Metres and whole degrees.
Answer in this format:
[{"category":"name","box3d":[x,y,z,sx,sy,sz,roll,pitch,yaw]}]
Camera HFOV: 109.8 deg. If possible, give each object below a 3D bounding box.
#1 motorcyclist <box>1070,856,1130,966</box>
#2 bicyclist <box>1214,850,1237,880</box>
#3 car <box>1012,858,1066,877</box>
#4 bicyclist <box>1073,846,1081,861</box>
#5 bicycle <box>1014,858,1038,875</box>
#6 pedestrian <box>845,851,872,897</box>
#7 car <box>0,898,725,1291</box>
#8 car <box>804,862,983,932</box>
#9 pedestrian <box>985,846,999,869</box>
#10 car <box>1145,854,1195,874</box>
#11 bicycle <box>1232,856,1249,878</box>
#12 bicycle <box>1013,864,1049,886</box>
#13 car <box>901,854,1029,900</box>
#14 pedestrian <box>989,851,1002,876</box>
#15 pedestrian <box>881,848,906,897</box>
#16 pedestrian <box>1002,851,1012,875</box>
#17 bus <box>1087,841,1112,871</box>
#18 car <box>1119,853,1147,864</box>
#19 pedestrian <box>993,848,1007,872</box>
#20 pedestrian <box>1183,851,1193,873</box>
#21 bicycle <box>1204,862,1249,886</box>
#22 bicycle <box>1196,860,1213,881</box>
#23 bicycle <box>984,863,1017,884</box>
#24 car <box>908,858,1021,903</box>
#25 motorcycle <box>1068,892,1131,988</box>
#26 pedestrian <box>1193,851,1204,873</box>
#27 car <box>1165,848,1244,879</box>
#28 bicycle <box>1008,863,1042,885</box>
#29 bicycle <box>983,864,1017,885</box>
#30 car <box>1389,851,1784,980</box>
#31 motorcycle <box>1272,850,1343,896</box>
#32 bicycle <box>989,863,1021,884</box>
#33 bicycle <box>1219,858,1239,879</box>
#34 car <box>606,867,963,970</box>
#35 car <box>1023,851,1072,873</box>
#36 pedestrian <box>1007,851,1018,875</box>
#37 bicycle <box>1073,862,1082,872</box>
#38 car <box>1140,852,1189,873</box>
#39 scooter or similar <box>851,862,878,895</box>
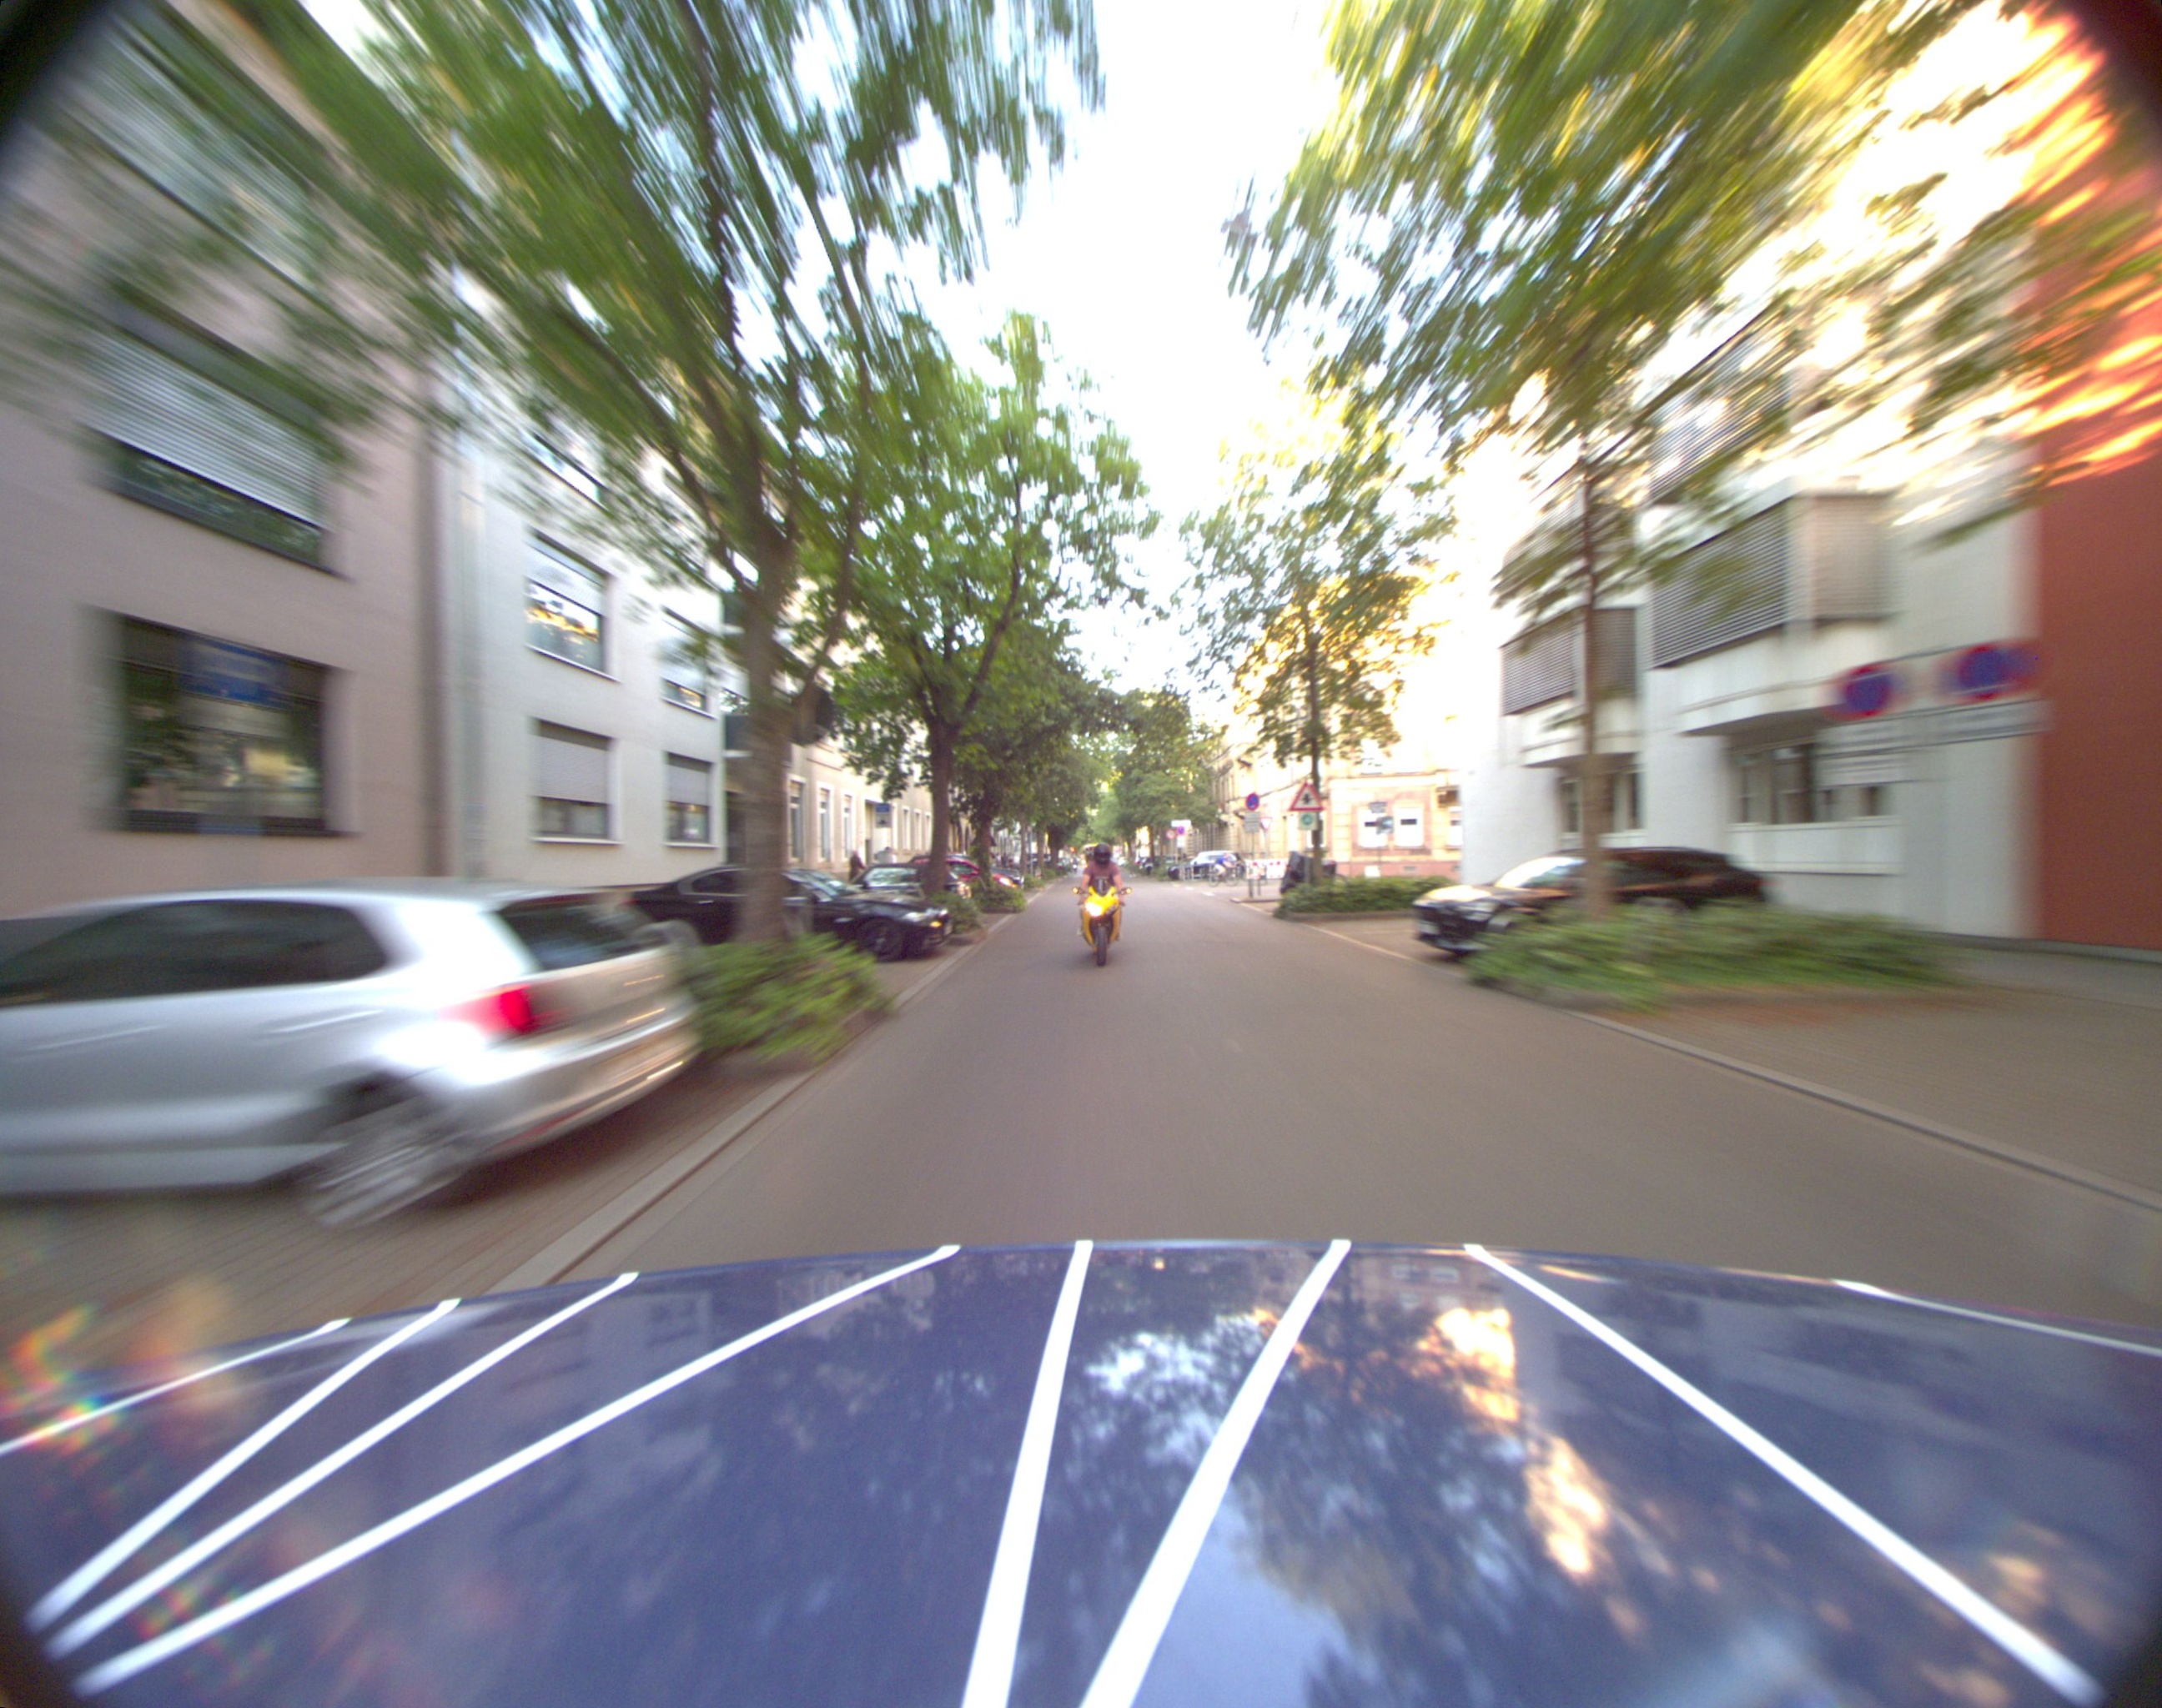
[{"category":"motorcyclist","box3d":[0.257,0.746,10.209,0.737,1.404,0.726,-2,0,2]},{"category":"bicyclist","box3d":[6.812,0.518,35.868,0.774,1.355,0.675,-3,0,44]},{"category":"car","box3d":[-3.481,1.135,63.914,4.412,1.385,1.885,2,0,-1]},{"category":"bicyclist","box3d":[-0.415,-0.025,79.576,0.637,1.551,0.818,-3,0,-9]},{"category":"bicycle","box3d":[-4.222,0.986,58.448,1.800,1.225,0.673,2,0,-9]},{"category":"pedestrian","box3d":[-7.572,0.669,25.851,0.656,1.527,0.831,0,0,2]},{"category":"car","box3d":[-4.197,0.989,3.876,3.887,1.431,1.847,0,0,-2]},{"category":"car","box3d":[-4.023,0.904,16.748,3.492,1.444,1.899,0,0,-1]},{"category":"pedestrian","box3d":[-6.557,0.259,55.814,0.725,1.728,0.746,1,-1,28]},{"category":"car","box3d":[7.295,0.805,62.831,3.954,1.523,1.908,-2,0,3]},{"category":"bicycle","box3d":[8.927,0.705,42.507,0.518,1.101,1.861,-4,2,1]},{"category":"bicycle","box3d":[-2.633,1.090,40.161,1.843,1.129,0.744,0,0,-9]},{"category":"car","box3d":[-4.256,0.830,28.458,4.436,1.646,1.900,-1,0,2]},{"category":"pedestrian","box3d":[-5.938,0.672,52.484,0.779,1.728,0.683,1,-1,-15]},{"category":"pedestrian","box3d":[-6.695,0.641,27.175,0.693,1.727,0.672,-1,0,-31]},{"category":"pedestrian","box3d":[-5.376,0.674,54.925,0.616,1.728,0.623,1,-1,1]},{"category":"bus","box3d":[2.164,0.264,91.151,2.668,3.175,11.899,-3,0,0]},{"category":"car","box3d":[7.844,0.664,114.941,4.180,1.548,1.827,-2,0,3]},{"category":"pedestrian","box3d":[-6.043,0.462,56.606,0.712,1.728,0.749,1,-1,21]},{"category":"pedestrian","box3d":[8.571,0.653,60.790,0.736,1.729,0.671,-2,0,7]},{"category":"bicycle","box3d":[6.849,0.955,35.841,0.675,1.024,1.972,-3,0,-44]},{"category":"bicycle","box3d":[6.894,0.886,42.438,0.523,1.053,1.861,-4,2,-2]},{"category":"bicycle","box3d":[-4.472,1.088,41.989,1.800,1.136,0.651,0,0,-8]},{"category":"car","box3d":[-3.812,0.851,25.296,3.492,1.444,1.899,0,0,-1]},{"category":"motorcycle","box3d":[0.263,1.093,10.187,0.737,1.053,1.964,-2,0,2]},{"category":"pedestrian","box3d":[9.434,0.636,61.039,0.736,1.729,0.671,-2,0,7]},{"category":"car","box3d":[7.348,0.580,45.574,4.436,1.641,1.873,-3,-1,2]},{"category":"bicycle","box3d":[-3.039,1.073,41.494,1.834,1.171,0.601,0,0,0]},{"category":"bicycle","box3d":[-4.314,1.099,40.616,1.799,1.101,0.500,0,0,-5]},{"category":"car","box3d":[6.731,0.769,10.482,4.138,1.477,1.929,-2,0,0]},{"category":"motorcycle","box3d":[7.844,0.648,26.282,2.217,1.473,0.858,-1,-1,-18]},{"category":"bicycle","box3d":[-4.271,1.098,42.804,1.799,1.122,0.664,0,0,-5]},{"category":"bicycle","box3d":[8.253,0.780,42.425,0.670,1.057,1.861,-4,2,1]},{"category":"car","box3d":[-4.368,0.934,11.777,4.723,1.413,2.036,0,0,1]},{"category":"car","box3d":[-3.357,0.772,76.446,4.701,1.999,2.037,2,0,0]},{"category":"pedestrian","box3d":[-5.128,0.676,57.062,0.709,1.728,0.725,1,-1,-16]},{"category":"bicycle","box3d":[-0.351,1.335,79.619,0.637,0.977,1.980,-3,-1,-9]},{"category":"car","box3d":[7.607,0.796,69.504,4.211,1.662,1.908,-3,-1,1]},{"category":"scooter or similar","box3d":[-7.555,0.853,26.549,0.656,1.146,0.831,0,0,2]}]
